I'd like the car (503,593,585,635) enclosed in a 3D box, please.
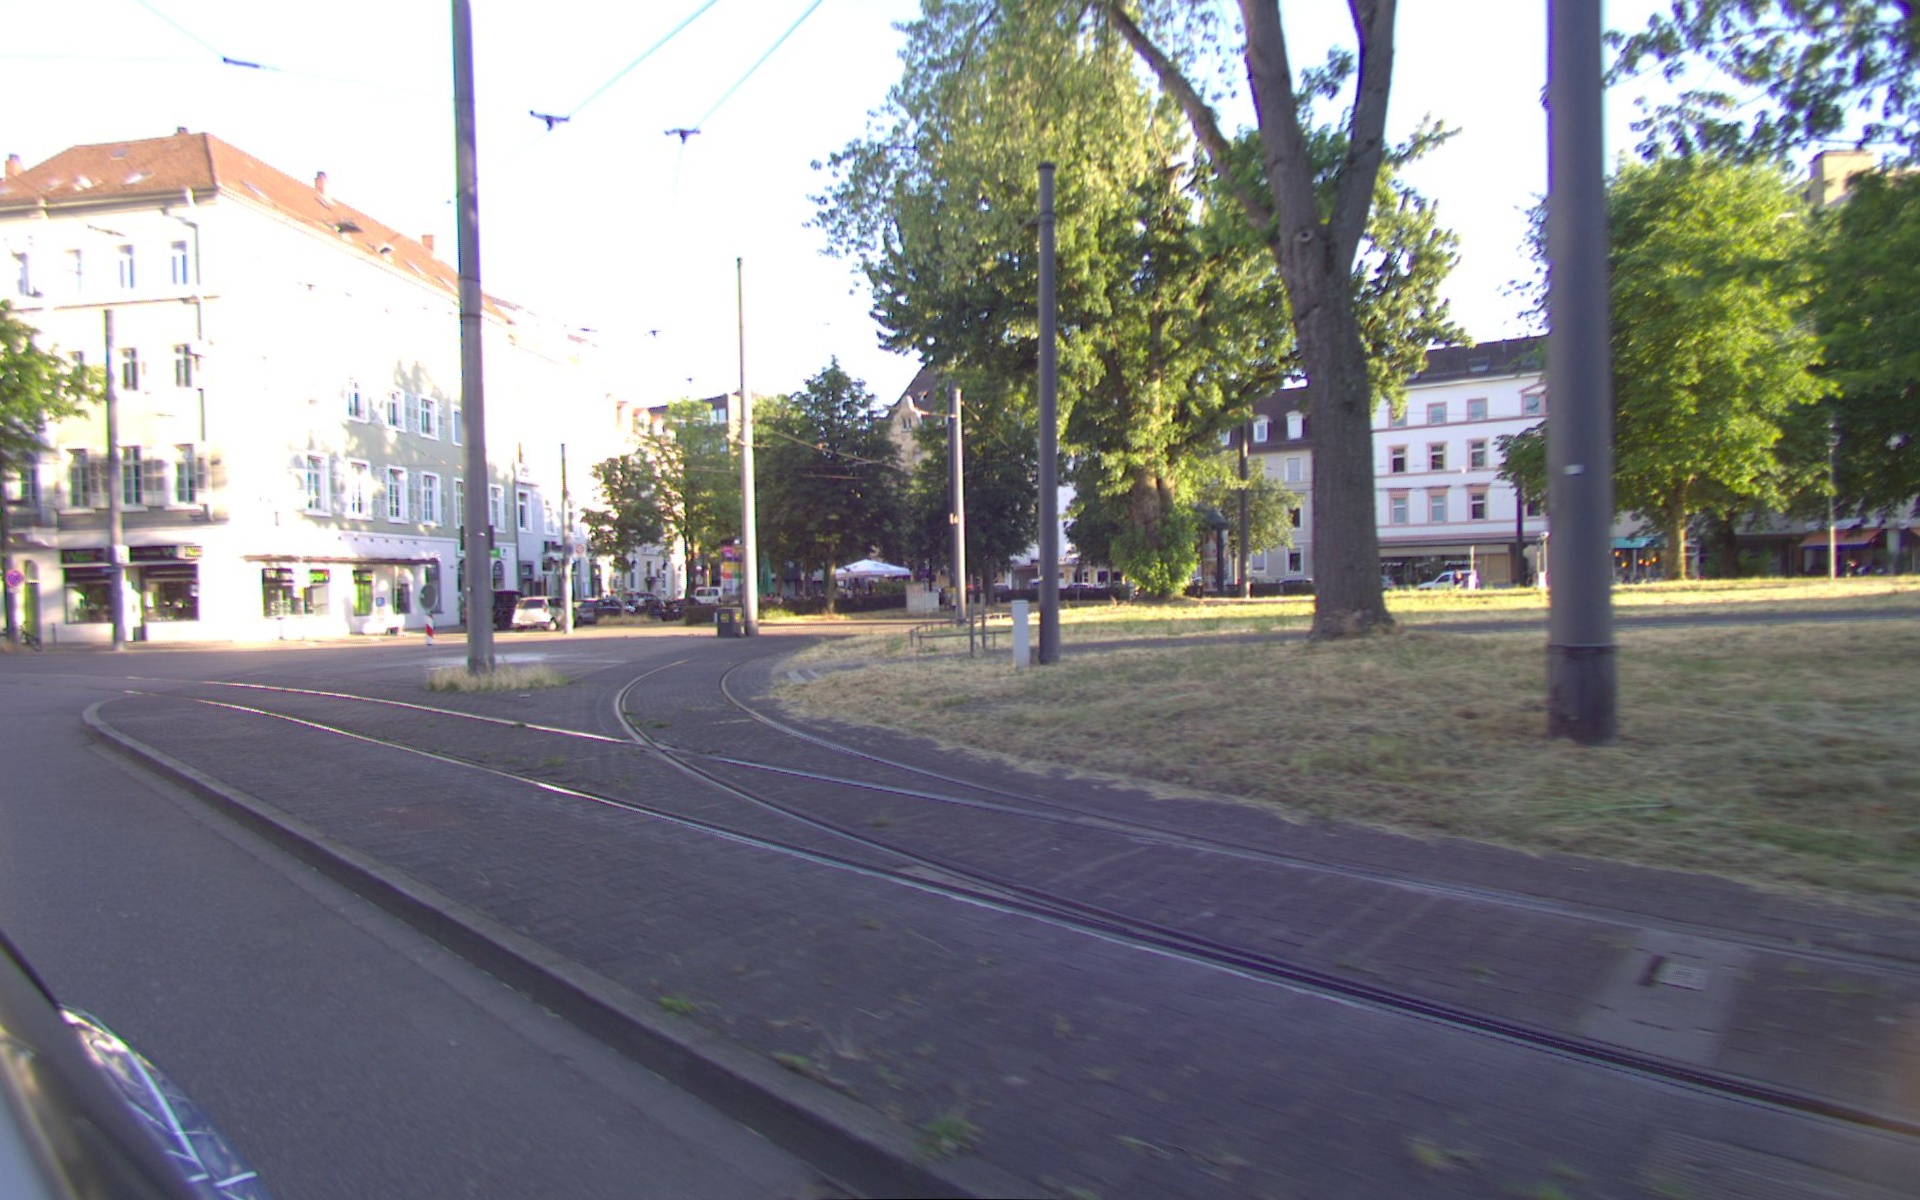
[{"bbox_3d":[-18.496,0.586,45.170,1.835,1.718,3.997,-2,0,2],"label":"car"}]

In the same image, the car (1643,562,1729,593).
[{"bbox_3d":[46.732,-1.421,65.253,4.190,1.808,1.921,-2,0,29],"label":"car"}]

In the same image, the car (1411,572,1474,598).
[{"bbox_3d":[34.476,-1.097,72.302,3.982,1.676,1.743,-2,0,29],"label":"car"}]

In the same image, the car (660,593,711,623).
[{"bbox_3d":[-16.616,0.461,61.368,1.835,1.718,3.997,-2,0,2],"label":"car"}]

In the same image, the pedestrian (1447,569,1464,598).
[{"bbox_3d":[30.207,-1.006,61.684,0.797,1.714,0.792,-2,0,31],"label":"pedestrian"}]

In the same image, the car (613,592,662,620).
[{"bbox_3d":[-21.523,0.385,67.692,1.835,1.718,3.997,-2,0,2],"label":"car"}]

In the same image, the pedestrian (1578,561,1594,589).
[{"bbox_3d":[38.738,-1.547,62.601,0.798,1.714,0.791,-2,1,33],"label":"pedestrian"}]

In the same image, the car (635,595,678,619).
[{"bbox_3d":[-22.443,0.465,75.008,1.835,1.655,3.997,-2,0,2],"label":"car"}]

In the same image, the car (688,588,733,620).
[{"bbox_3d":[-16.499,0.247,67.065,1.835,2.014,3.997,-2,0,2],"label":"car"}]

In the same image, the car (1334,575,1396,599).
[{"bbox_3d":[29.956,-0.954,74.814,3.987,1.592,1.778,-2,0,33],"label":"car"}]

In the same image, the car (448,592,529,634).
[{"bbox_3d":[-23.142,0.595,49.874,1.973,1.918,3.997,-2,0,2],"label":"car"}]

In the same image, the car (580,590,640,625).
[{"bbox_3d":[-20.677,0.427,59.966,1.973,1.918,3.997,-2,0,2],"label":"car"}]

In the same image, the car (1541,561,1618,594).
[{"bbox_3d":[41.366,-1.493,67.696,4.191,1.959,1.743,-2,0,29],"label":"car"}]
